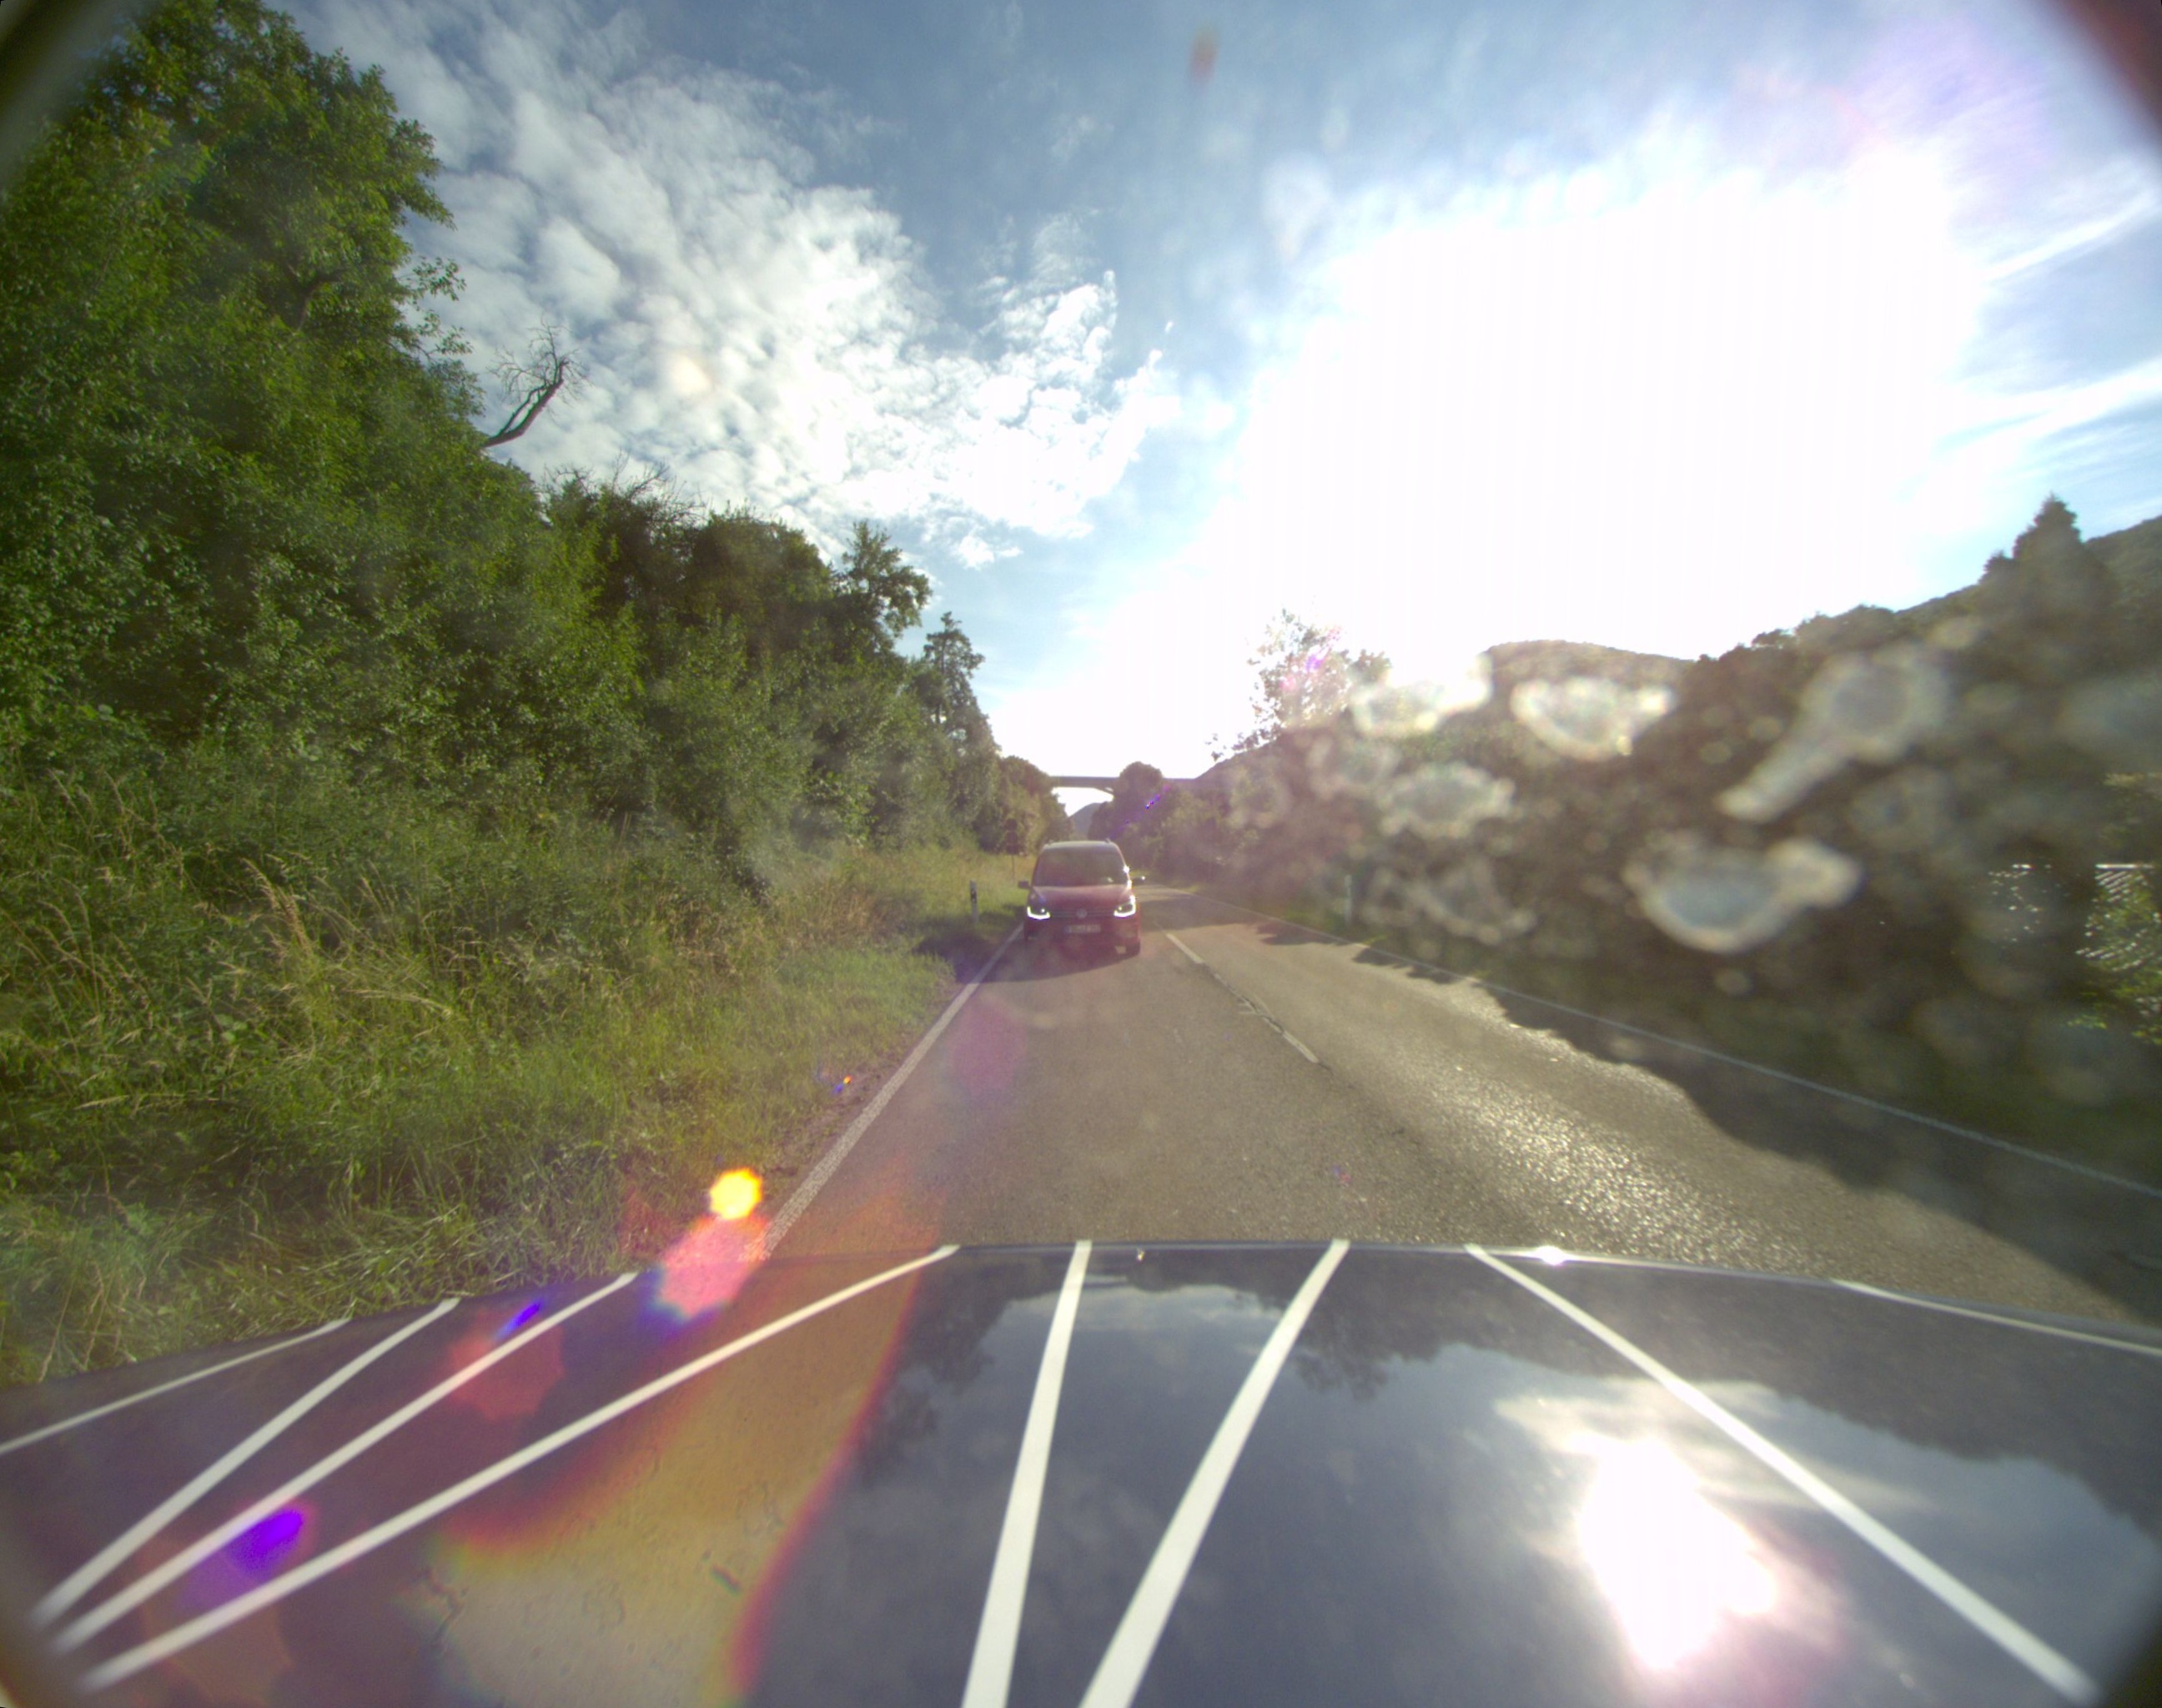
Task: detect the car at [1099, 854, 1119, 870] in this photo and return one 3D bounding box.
[{"bbox_3d":[2.682,0.746,73.949,1.632,1.407,3.788,0,1,-2],"label":"car"}]

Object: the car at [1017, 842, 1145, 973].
[{"bbox_3d":[0.009,0.737,12.908,1.753,1.800,4.287,-2,1,0],"label":"car"}]
